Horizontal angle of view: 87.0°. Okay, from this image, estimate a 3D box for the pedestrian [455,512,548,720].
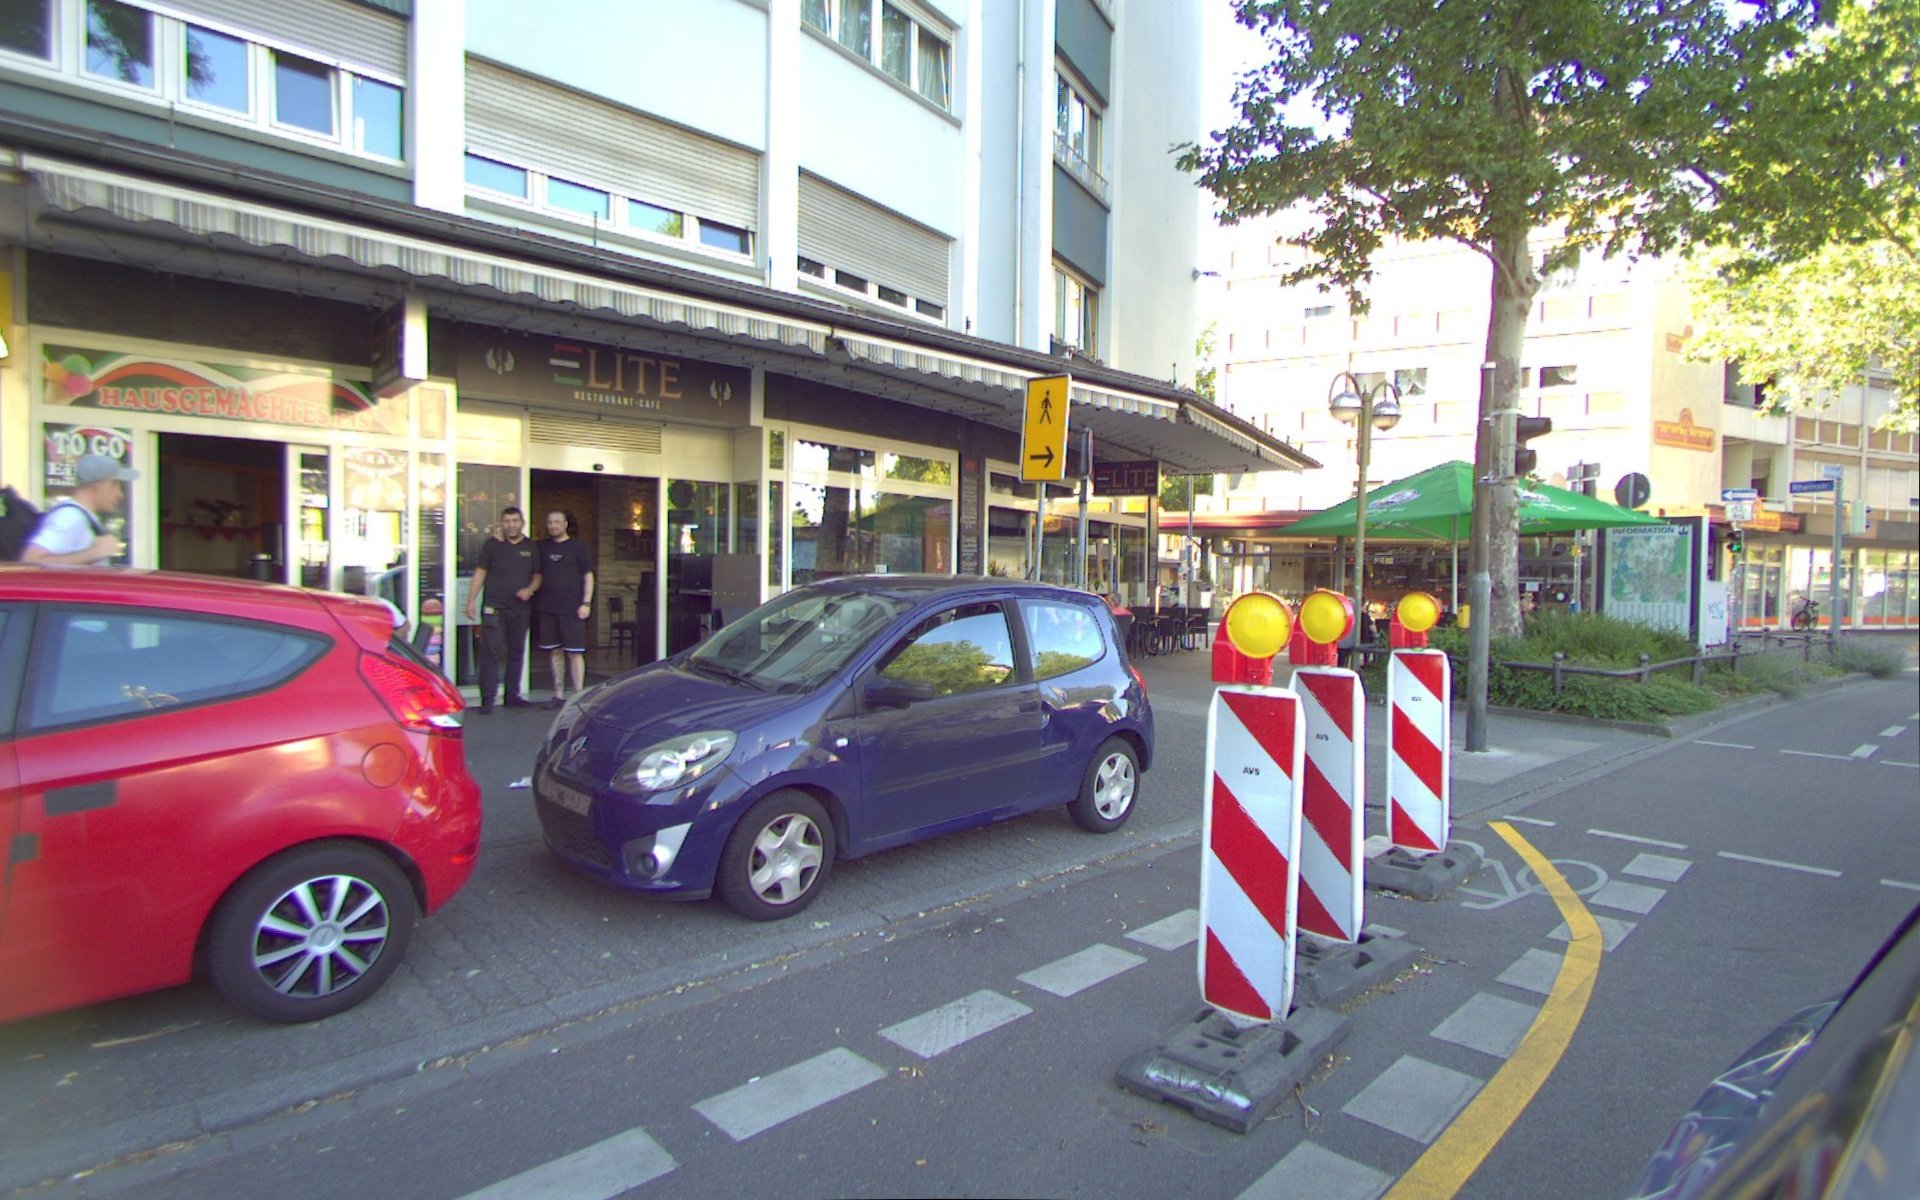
[{"bbox_3d":[-4.064,0.121,8.963,0.586,1.756,0.589,1,3,-37],"label":"pedestrian"}]

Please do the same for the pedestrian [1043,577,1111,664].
[{"bbox_3d":[1.742,0.288,15.047,0.664,1.233,0.706,3,1,43],"label":"pedestrian"}]

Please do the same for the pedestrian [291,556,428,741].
[{"bbox_3d":[-4.674,0.320,7.846,0.765,1.247,1.207,-1,5,-38],"label":"pedestrian"}]

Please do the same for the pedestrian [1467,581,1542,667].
[{"bbox_3d":[8.574,0.361,15.946,0.752,1.301,0.721,0,1,-27],"label":"pedestrian"}]

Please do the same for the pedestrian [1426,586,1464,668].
[{"bbox_3d":[7.611,0.408,15.896,0.427,1.234,0.465,3,2,20],"label":"pedestrian"}]

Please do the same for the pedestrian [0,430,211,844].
[{"bbox_3d":[-4.584,0.154,5.216,1.103,1.913,1.024,0,2,-41],"label":"pedestrian"}]

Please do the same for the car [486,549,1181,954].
[{"bbox_3d":[-0.495,0.532,5.629,3.545,1.484,1.621,-1,4,-44],"label":"car"}]

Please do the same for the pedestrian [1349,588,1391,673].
[{"bbox_3d":[6.100,0.442,15.070,0.460,1.235,0.432,1,0,5],"label":"pedestrian"}]

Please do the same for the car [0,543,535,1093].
[{"bbox_3d":[-3.498,0.567,2.986,1.668,1.446,3.786,5,4,44],"label":"car"}]

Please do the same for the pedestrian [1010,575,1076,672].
[{"bbox_3d":[1.147,0.306,13.882,0.644,1.267,0.711,3,1,25],"label":"pedestrian"}]

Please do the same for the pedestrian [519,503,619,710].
[{"bbox_3d":[-3.533,0.042,9.142,0.635,1.780,0.612,1,3,-39],"label":"pedestrian"}]

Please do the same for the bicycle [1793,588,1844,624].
[{"bbox_3d":[28.295,0.187,33.362,1.933,1.157,0.530,0,1,-26],"label":"bicycle"}]

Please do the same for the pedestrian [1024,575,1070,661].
[{"bbox_3d":[1.321,0.265,15.408,0.541,1.259,0.521,2,1,-7],"label":"pedestrian"}]

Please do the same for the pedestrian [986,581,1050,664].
[{"bbox_3d":[0.858,0.312,14.787,0.710,1.144,0.645,3,1,25],"label":"pedestrian"}]

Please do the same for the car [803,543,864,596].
[{"bbox_3d":[-4.480,-1.094,36.300,1.960,1.771,4.004,1,1,-4],"label":"car"}]

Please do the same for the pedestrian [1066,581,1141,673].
[{"bbox_3d":[2.010,0.359,14.157,0.838,1.213,0.644,3,1,27],"label":"pedestrian"}]

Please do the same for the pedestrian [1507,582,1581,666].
[{"bbox_3d":[9.425,0.370,16.347,0.753,1.301,0.721,0,1,-28],"label":"pedestrian"}]
